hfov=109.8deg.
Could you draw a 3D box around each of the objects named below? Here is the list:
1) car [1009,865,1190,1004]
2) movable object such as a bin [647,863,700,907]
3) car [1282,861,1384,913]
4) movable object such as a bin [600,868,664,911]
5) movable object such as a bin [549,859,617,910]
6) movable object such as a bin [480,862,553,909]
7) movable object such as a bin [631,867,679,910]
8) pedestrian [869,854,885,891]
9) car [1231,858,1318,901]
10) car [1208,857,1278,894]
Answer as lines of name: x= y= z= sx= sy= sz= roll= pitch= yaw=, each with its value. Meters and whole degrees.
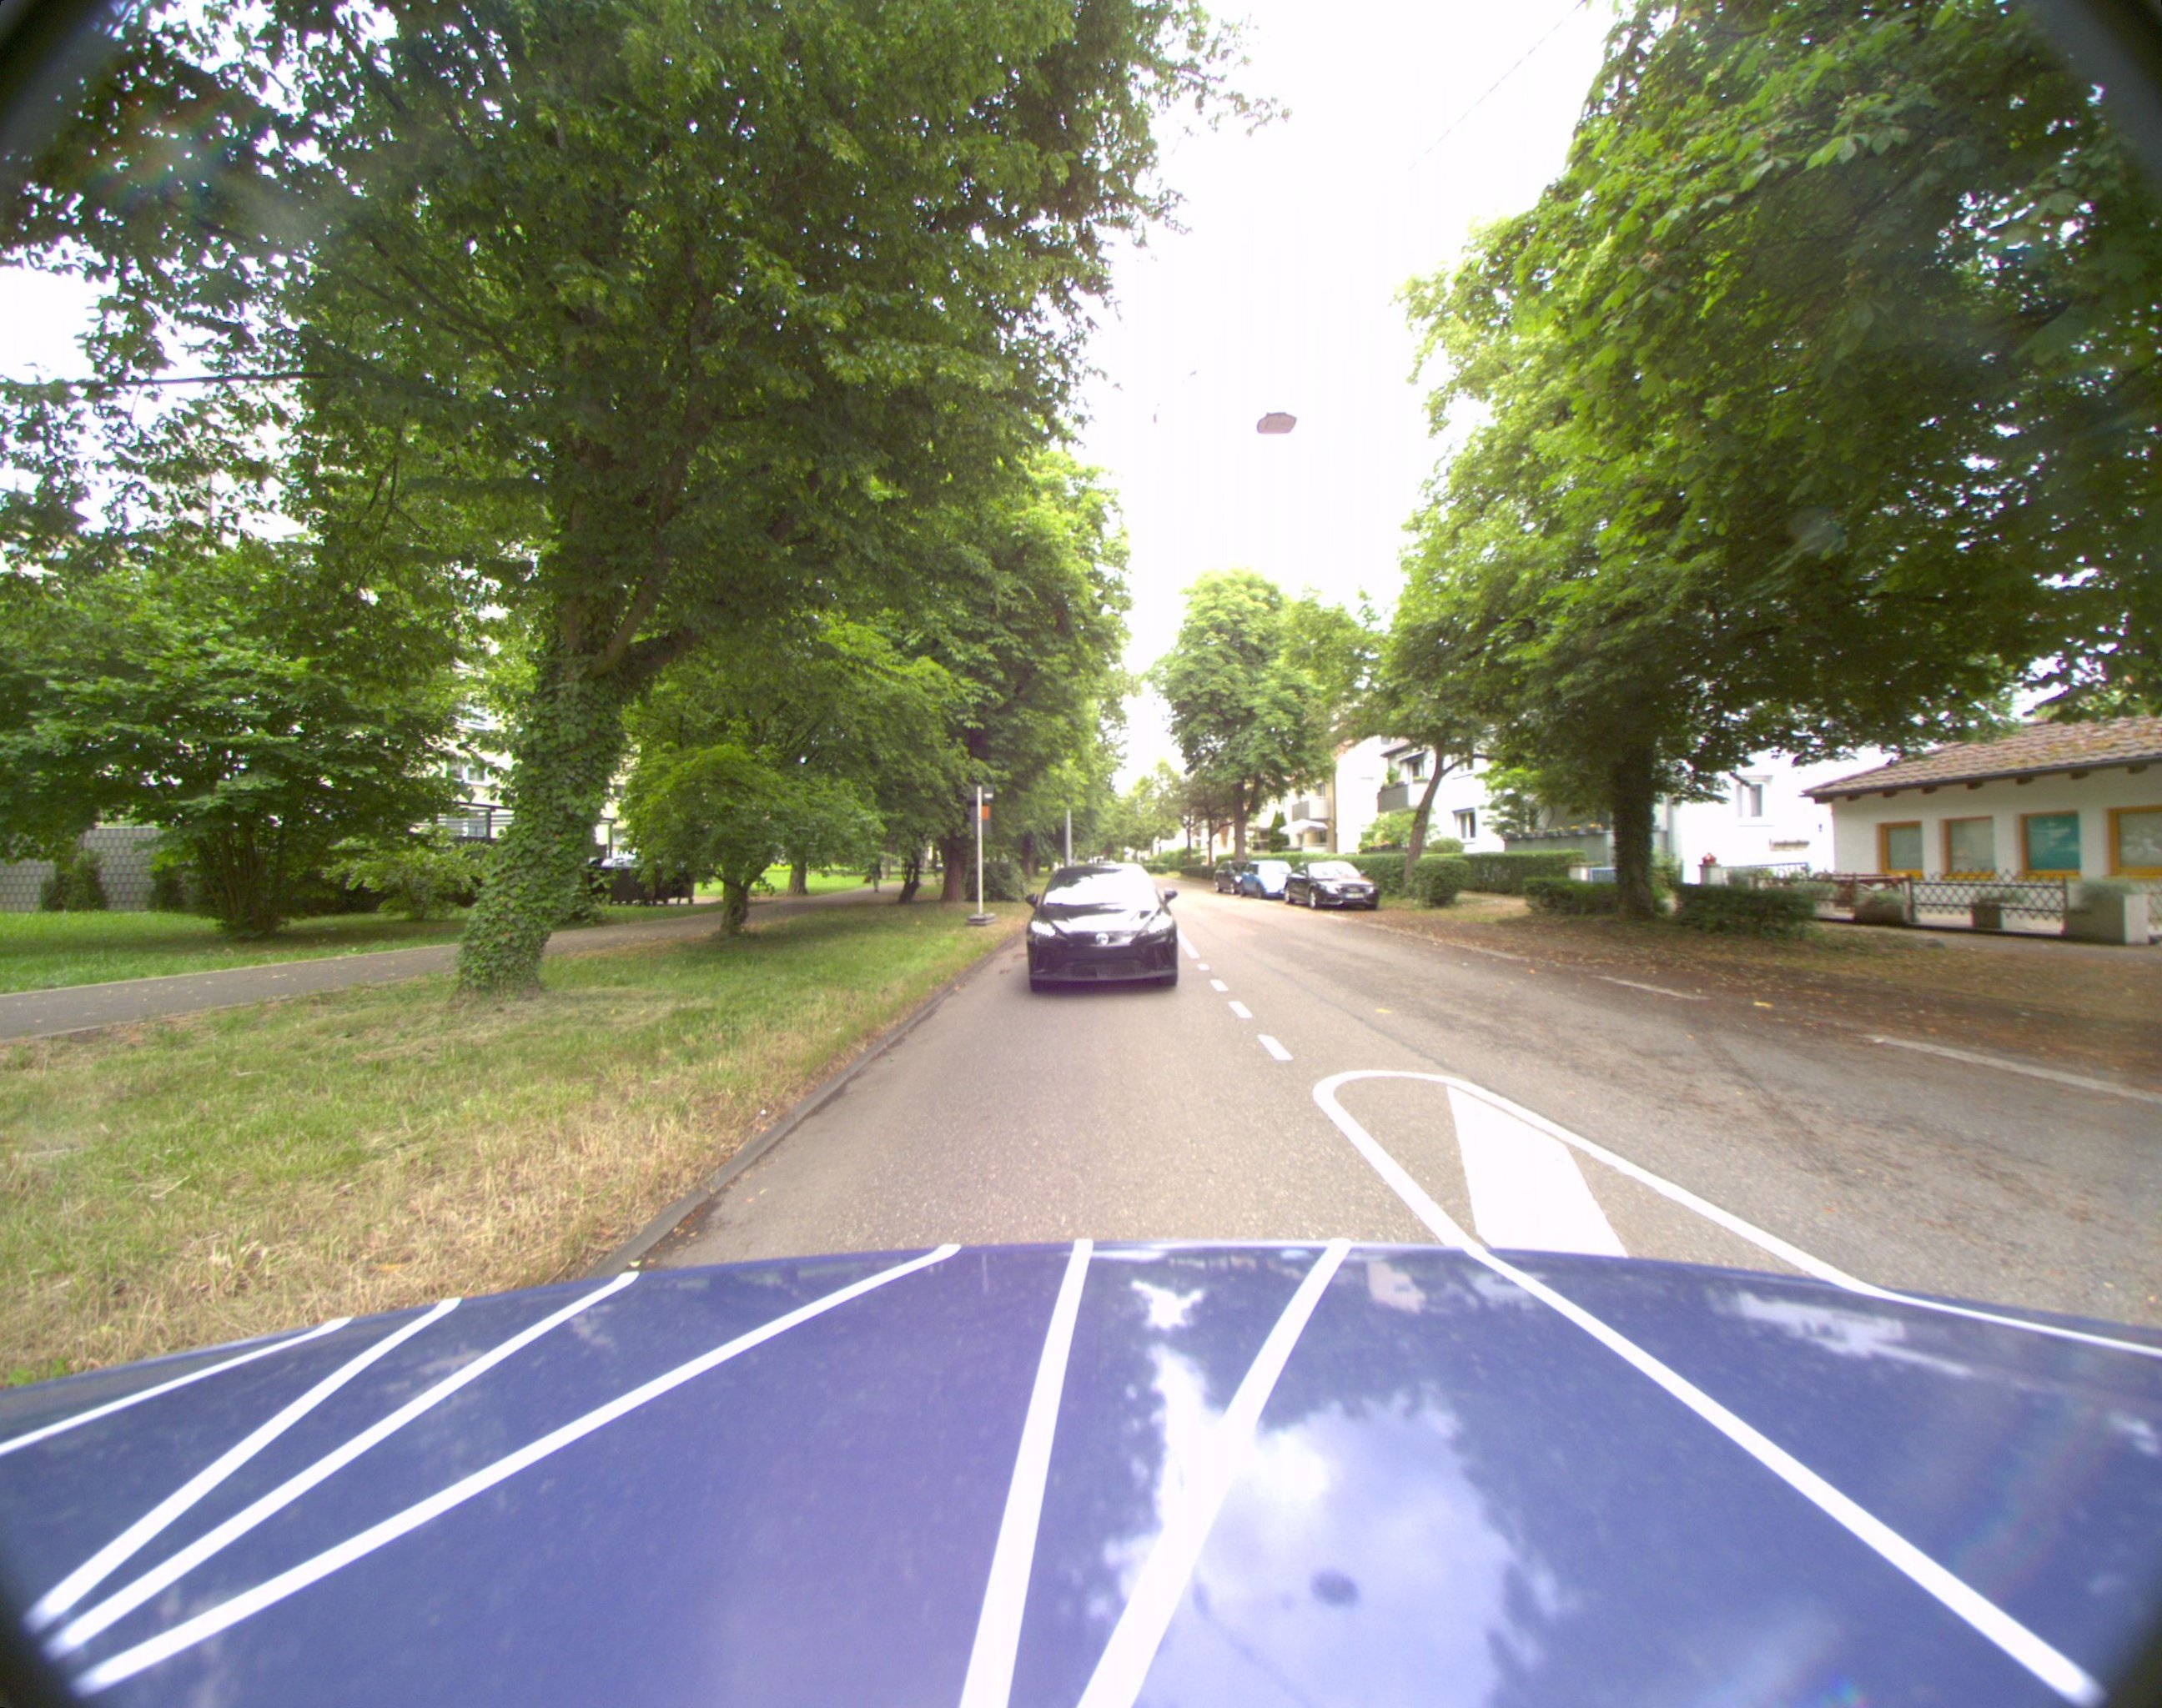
car: x=0.225 y=0.924 z=10.688 sx=1.998 sy=1.491 sz=4.615 roll=0 pitch=0 yaw=0
movable object such as a bin: x=-13.262 y=0.995 z=24.788 sx=1.194 sy=1.405 sz=1.110 roll=0 pitch=0 yaw=-8
car: x=7.388 y=0.921 z=22.705 sx=1.735 sy=1.394 sz=4.172 roll=0 pitch=0 yaw=1
movable object such as a bin: x=-13.273 y=1.035 z=22.495 sx=1.194 sy=1.213 sz=1.348 roll=0 pitch=0 yaw=-8
movable object such as a bin: x=-14.590 y=0.879 z=22.302 sx=1.194 sy=1.448 sz=1.348 roll=0 pitch=0 yaw=-8
movable object such as a bin: x=-16.531 y=0.903 z=22.299 sx=1.194 sy=1.334 sz=1.348 roll=0 pitch=0 yaw=-8
movable object such as a bin: x=-13.258 y=1.055 z=23.694 sx=1.026 sy=1.296 sz=0.960 roll=0 pitch=0 yaw=-8
pedestrian: x=-9.532 y=0.857 z=35.548 sx=0.565 sy=1.730 sz=0.570 roll=1 pitch=0 yaw=0
car: x=7.186 y=0.889 z=28.727 sx=1.889 sy=1.492 sz=4.565 roll=0 pitch=0 yaw=-3
car: x=7.053 y=0.894 z=33.480 sx=1.889 sy=1.524 sz=4.565 roll=0 pitch=0 yaw=-3
